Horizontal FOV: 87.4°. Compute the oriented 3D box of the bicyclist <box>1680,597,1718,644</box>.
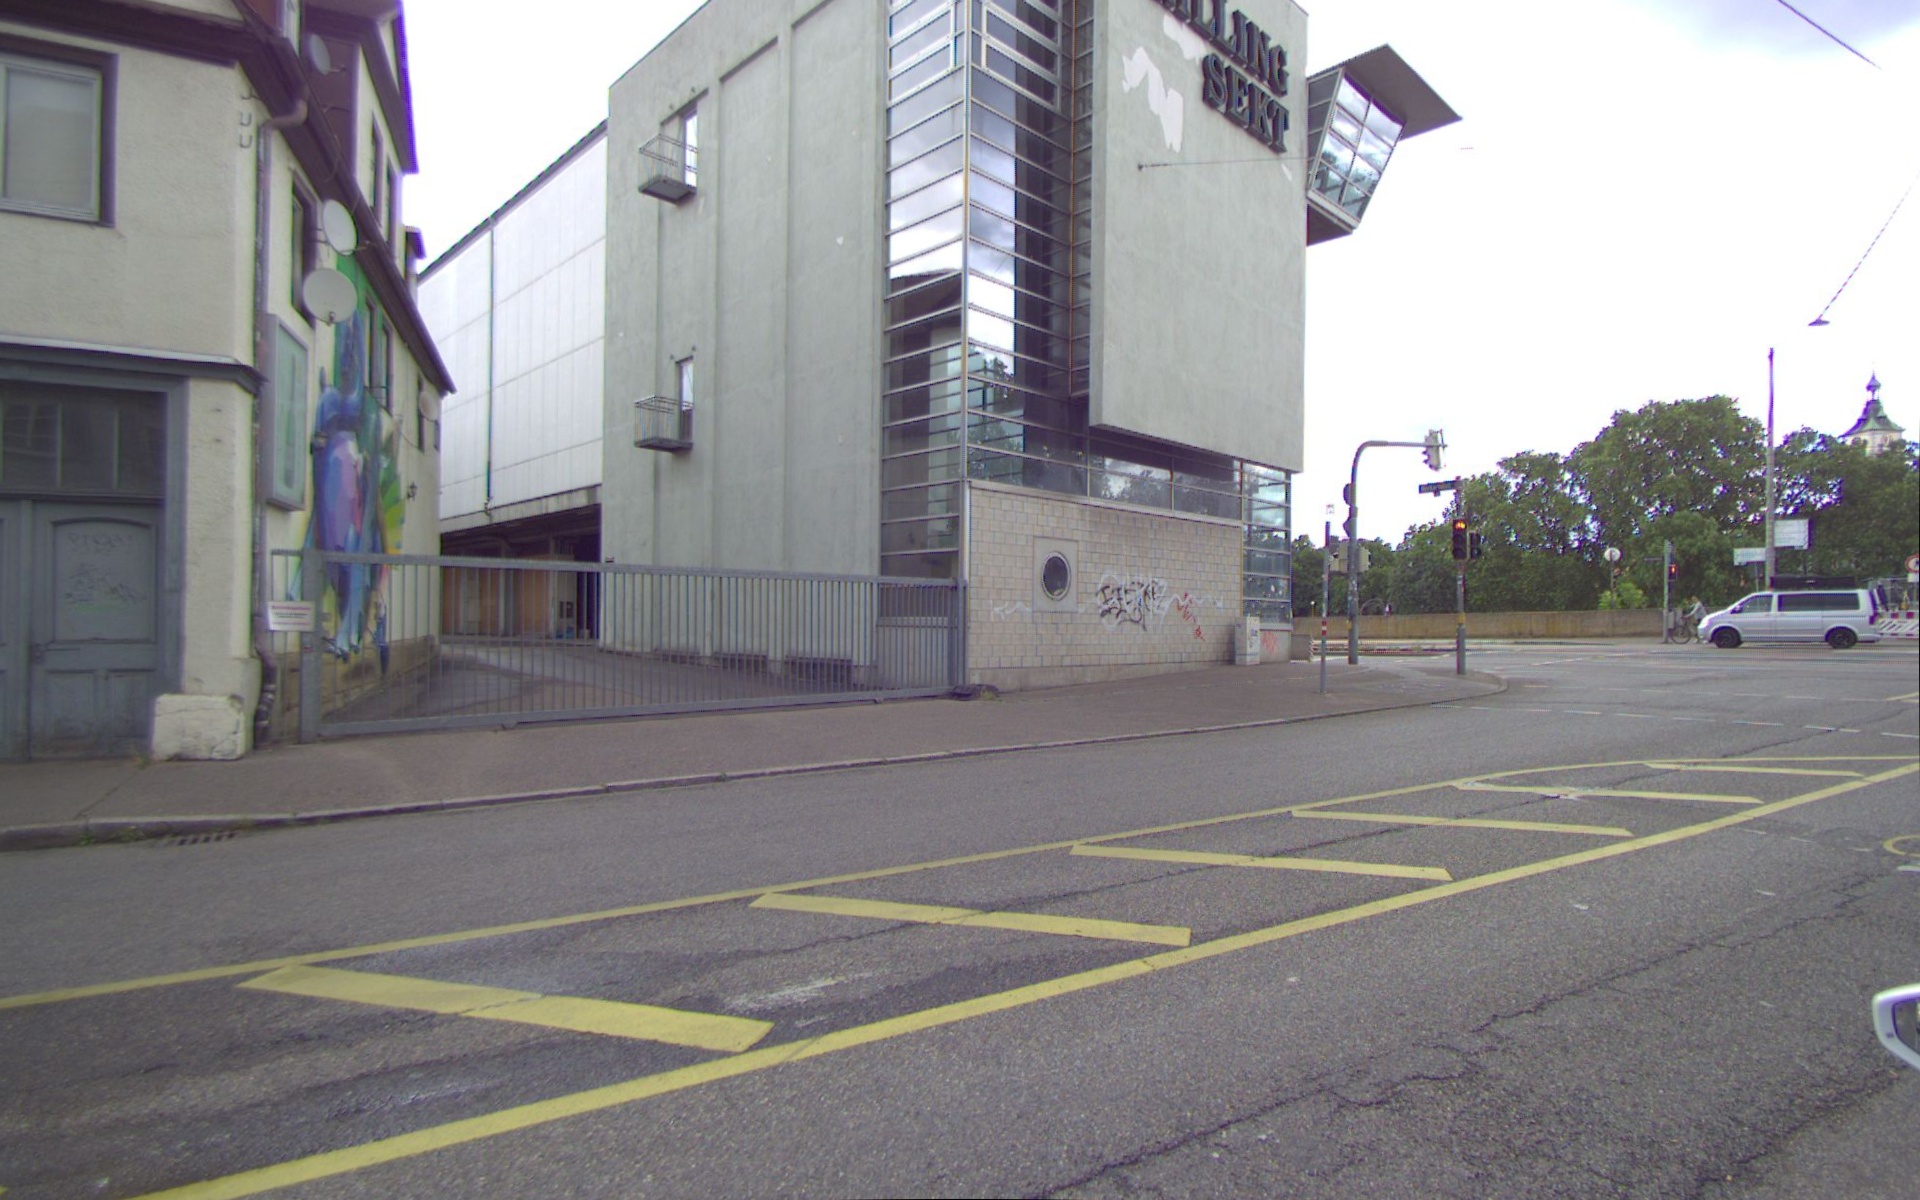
[{"bbox_3d":[28.609,0.780,38.911,0.985,1.767,0.755,0,0,20],"label":"bicyclist"}]

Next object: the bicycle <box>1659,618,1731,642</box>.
[{"bbox_3d":[28.480,1.153,38.958,2.096,0.904,0.760,-1,0,20],"label":"bicycle"}]

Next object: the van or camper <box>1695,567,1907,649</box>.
[{"bbox_3d":[28.216,0.316,33.857,5.336,2.546,2.024,-1,-3,45],"label":"van or camper"}]
